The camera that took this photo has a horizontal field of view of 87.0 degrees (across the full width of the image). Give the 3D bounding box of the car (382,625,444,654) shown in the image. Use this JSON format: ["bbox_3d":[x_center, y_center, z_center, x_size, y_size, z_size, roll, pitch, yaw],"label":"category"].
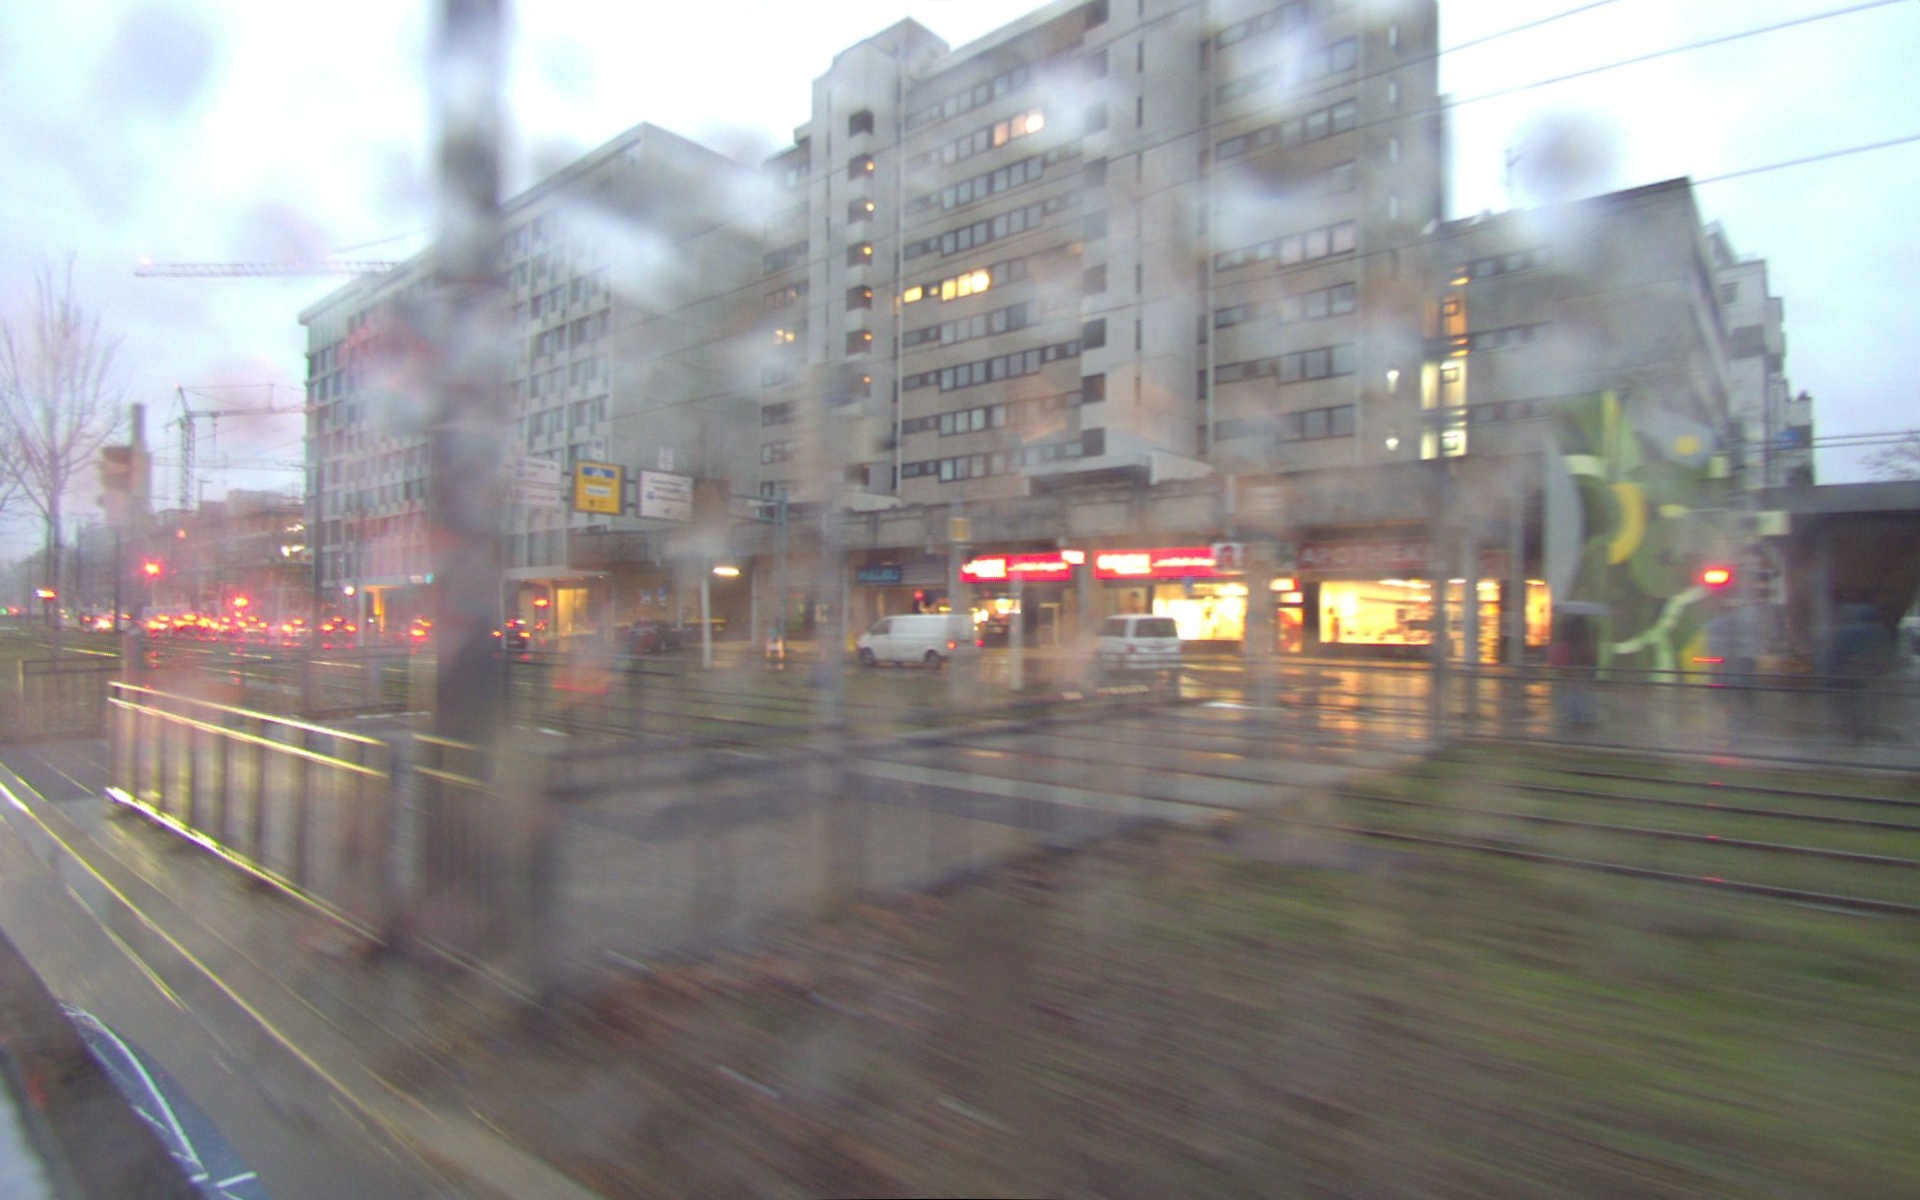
[{"bbox_3d":[-30.863,2.196,57.076,3.887,1.523,1.732,0,-1,40],"label":"car"}]

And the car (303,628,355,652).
[{"bbox_3d":[-41.199,2.598,66.043,3.870,1.460,1.732,0,-1,40],"label":"car"}]

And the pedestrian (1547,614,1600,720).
[{"bbox_3d":[9.036,0.961,14.891,0.629,1.501,0.783,-1,-2,33],"label":"pedestrian"}]

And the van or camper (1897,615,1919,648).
[{"bbox_3d":[67.931,2.183,69.188,5.632,2.260,1.972,-1,-2,42],"label":"van or camper"}]

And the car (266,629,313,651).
[{"bbox_3d":[-47.530,2.814,71.694,3.870,1.460,1.732,0,-1,40],"label":"car"}]

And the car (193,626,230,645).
[{"bbox_3d":[-61.357,2.884,82.913,3.870,1.460,1.575,0,-1,40],"label":"car"}]

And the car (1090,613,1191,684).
[{"bbox_3d":[5.752,1.484,32.850,1.969,2.029,4.580,-1,1,-6],"label":"car"}]

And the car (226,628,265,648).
[{"bbox_3d":[-55.819,2.929,79.019,3.870,1.460,1.575,0,-1,40],"label":"car"}]

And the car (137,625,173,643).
[{"bbox_3d":[-66.702,2.810,83.840,3.870,1.460,1.575,0,-1,40],"label":"car"}]

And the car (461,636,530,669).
[{"bbox_3d":[-22.942,2.560,49.958,3.764,1.460,1.656,-1,-1,40],"label":"car"}]

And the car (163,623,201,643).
[{"bbox_3d":[-60.500,2.543,78.674,3.870,1.460,1.575,0,-1,40],"label":"car"}]

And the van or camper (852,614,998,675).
[{"bbox_3d":[-1.399,1.610,37.704,5.651,2.113,1.973,-1,-2,41],"label":"van or camper"}]

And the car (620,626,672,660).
[{"bbox_3d":[-16.033,2.151,51.835,1.656,1.630,3.781,0,-1,-4],"label":"car"}]
